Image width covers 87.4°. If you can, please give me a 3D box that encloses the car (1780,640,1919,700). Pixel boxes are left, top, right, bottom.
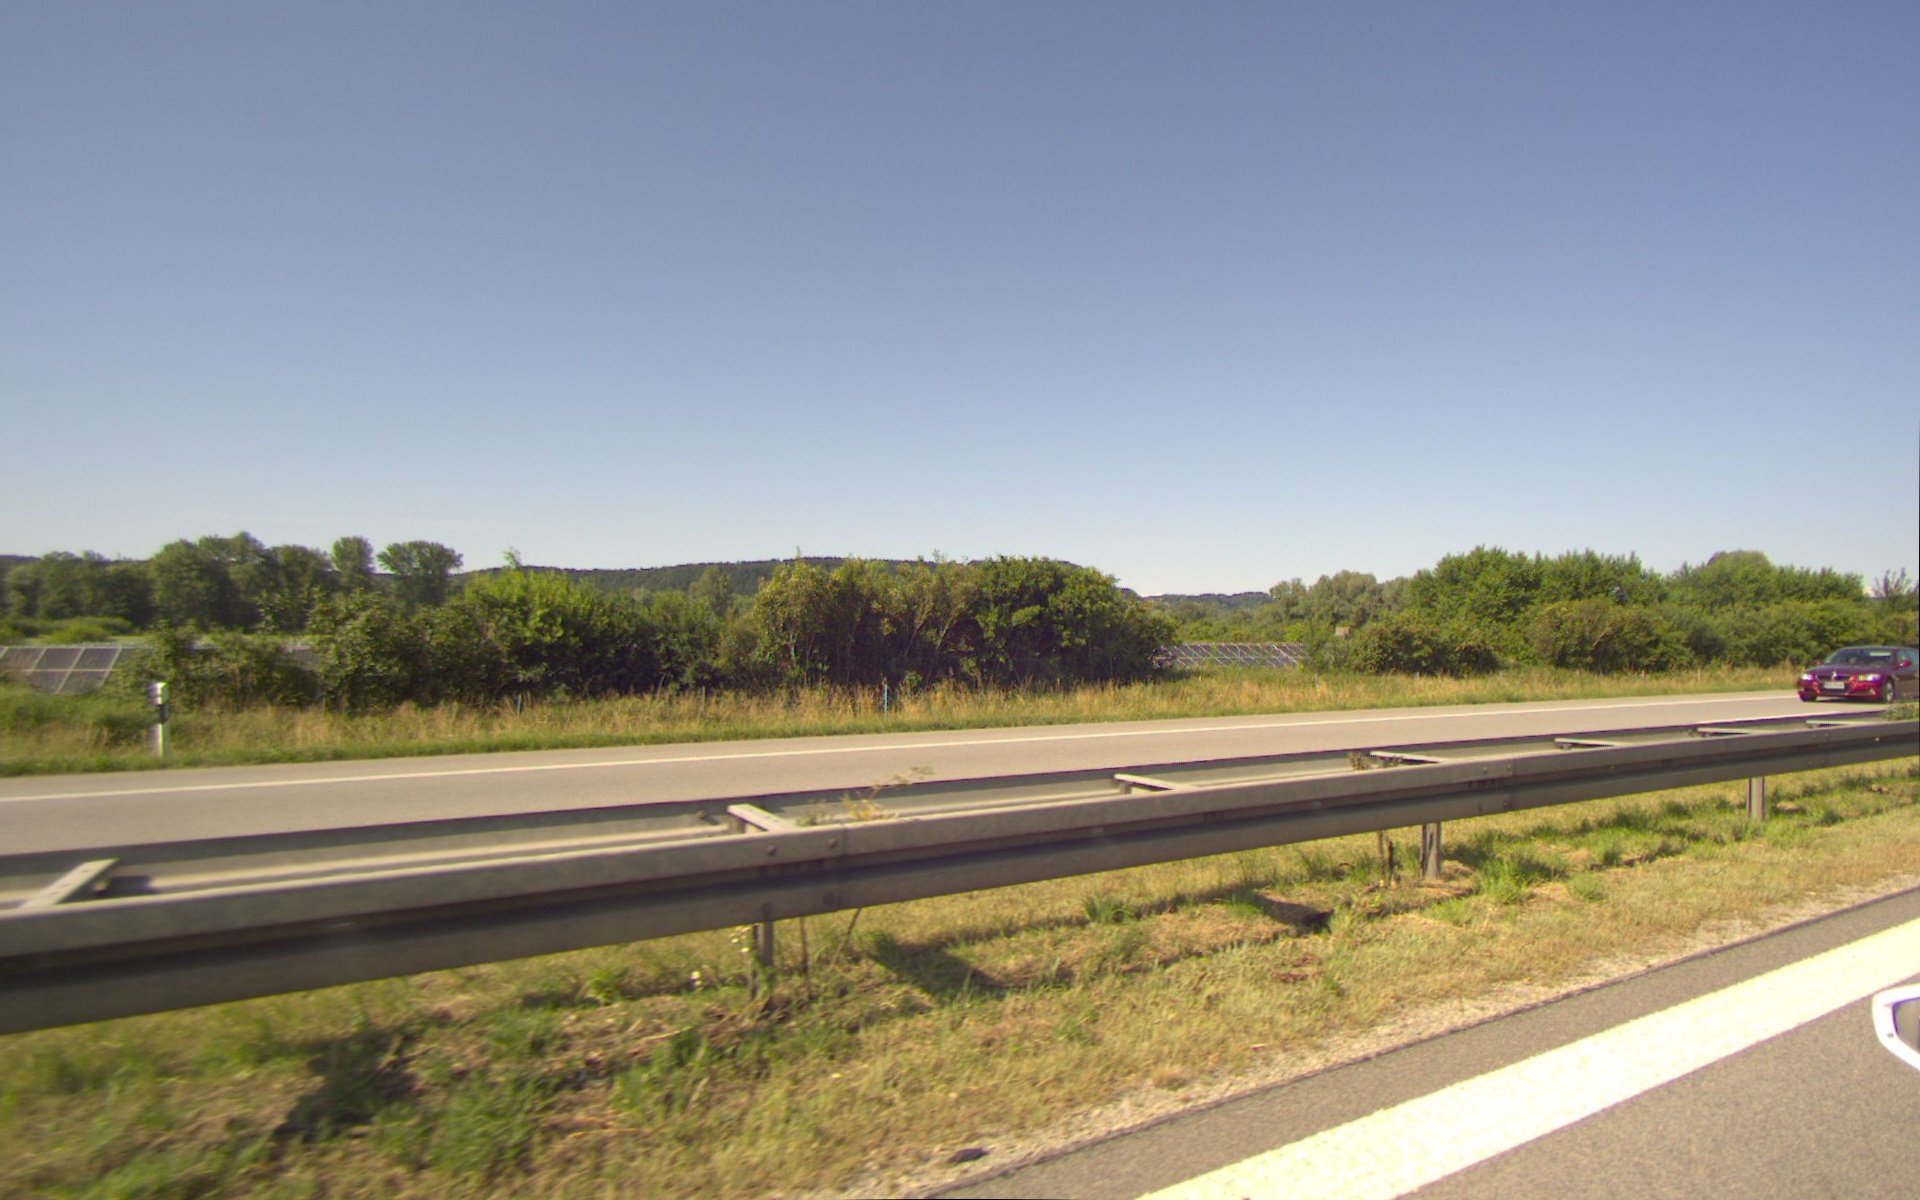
[{"bbox_3d":[23.253,1.758,25.799,4.866,1.416,1.824,1,-4,-31],"label":"car"}]
